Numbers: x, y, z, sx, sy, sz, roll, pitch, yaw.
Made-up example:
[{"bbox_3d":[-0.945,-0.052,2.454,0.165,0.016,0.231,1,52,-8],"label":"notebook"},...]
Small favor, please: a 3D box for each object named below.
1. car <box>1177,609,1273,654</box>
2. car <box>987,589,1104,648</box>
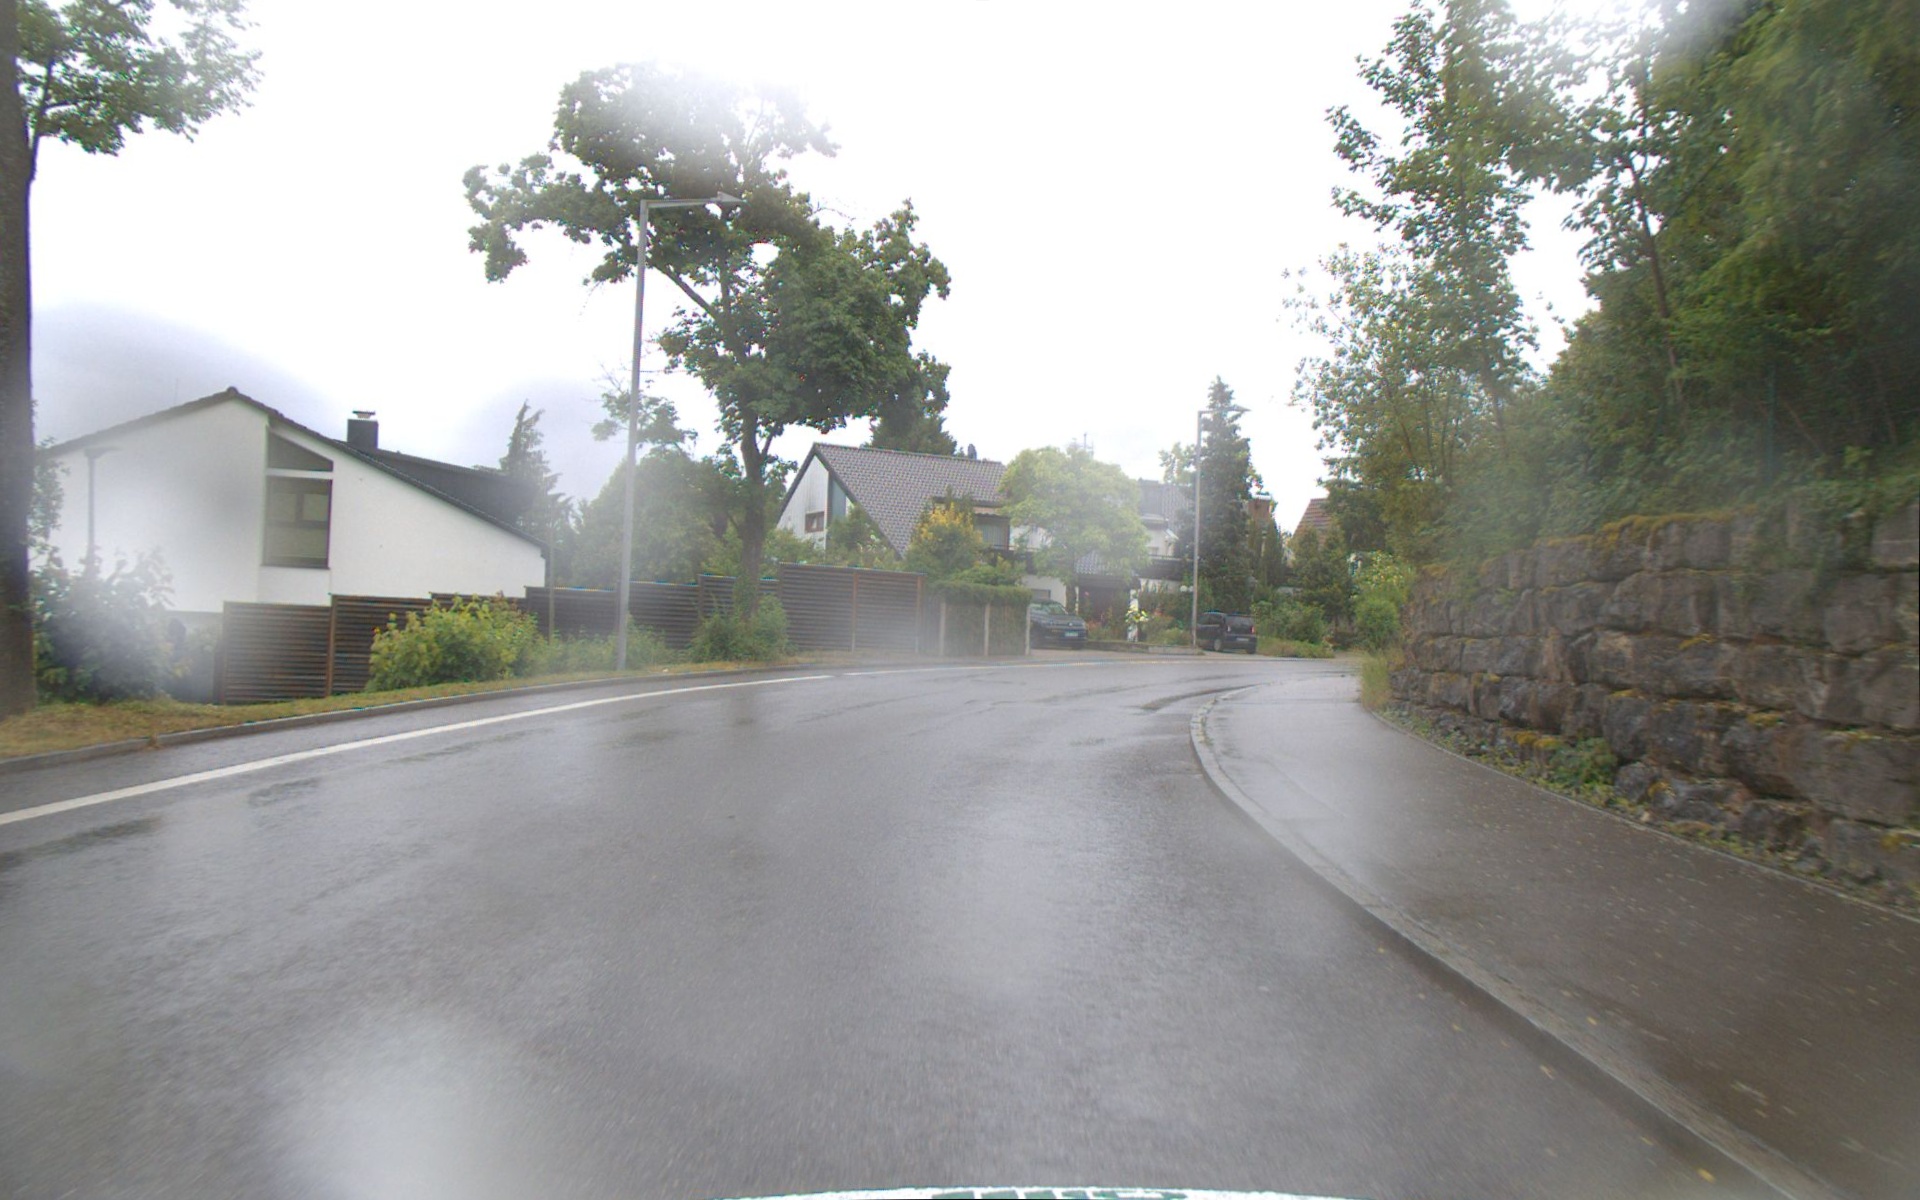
[{"bbox_3d":[10.033,1.172,62.921,1.905,1.413,3.979,5,0,-18],"label":"car"},{"bbox_3d":[2.851,0.606,55.853,1.988,1.660,3.957,4,0,-32],"label":"car"}]
